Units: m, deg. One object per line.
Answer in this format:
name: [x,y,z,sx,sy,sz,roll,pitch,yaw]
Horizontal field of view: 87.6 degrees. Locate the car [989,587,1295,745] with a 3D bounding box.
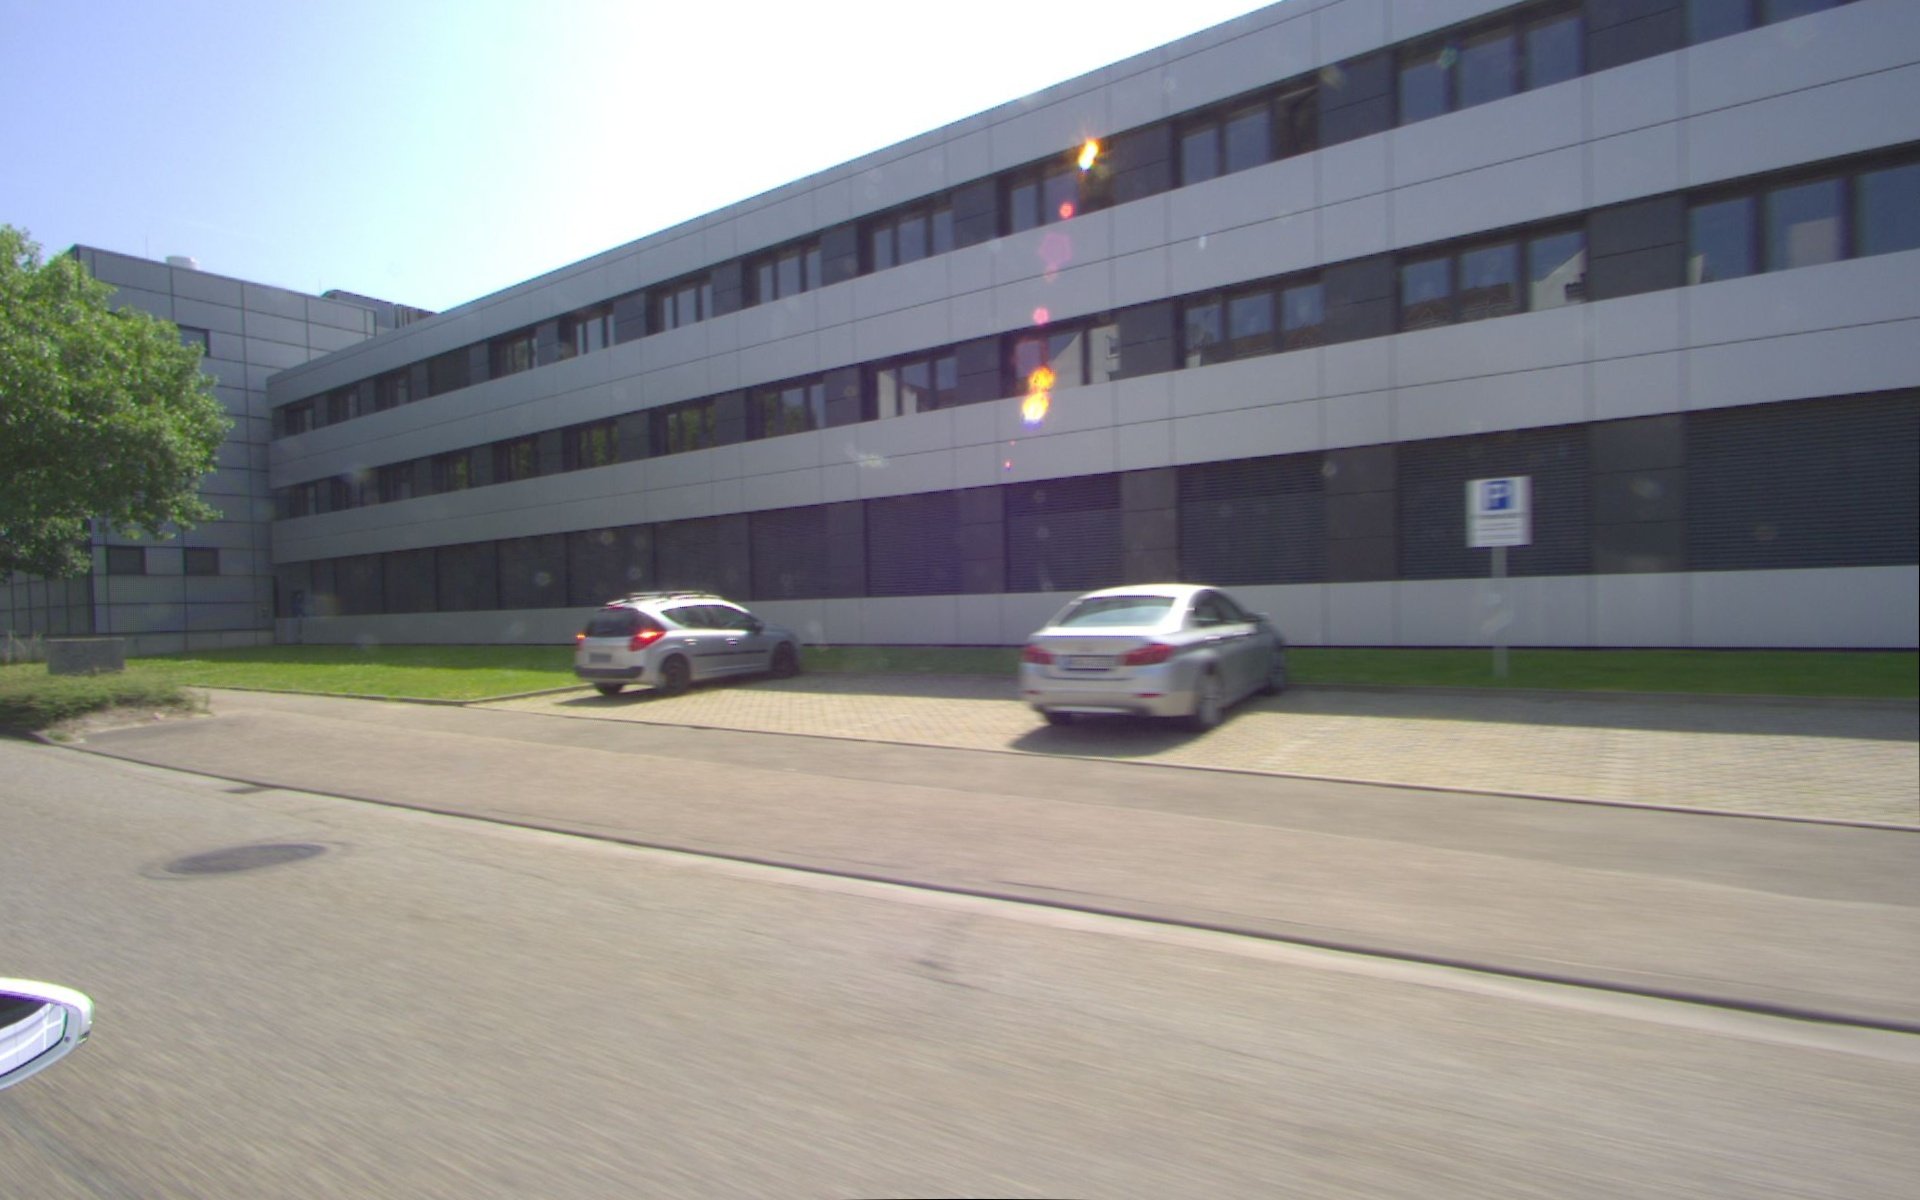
car: [2.322,0.585,11.541,1.971,1.409,4.604,-1,1,31]

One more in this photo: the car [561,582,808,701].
car: [-4.472,0.601,16.807,1.707,1.614,3.802,-1,3,31]
